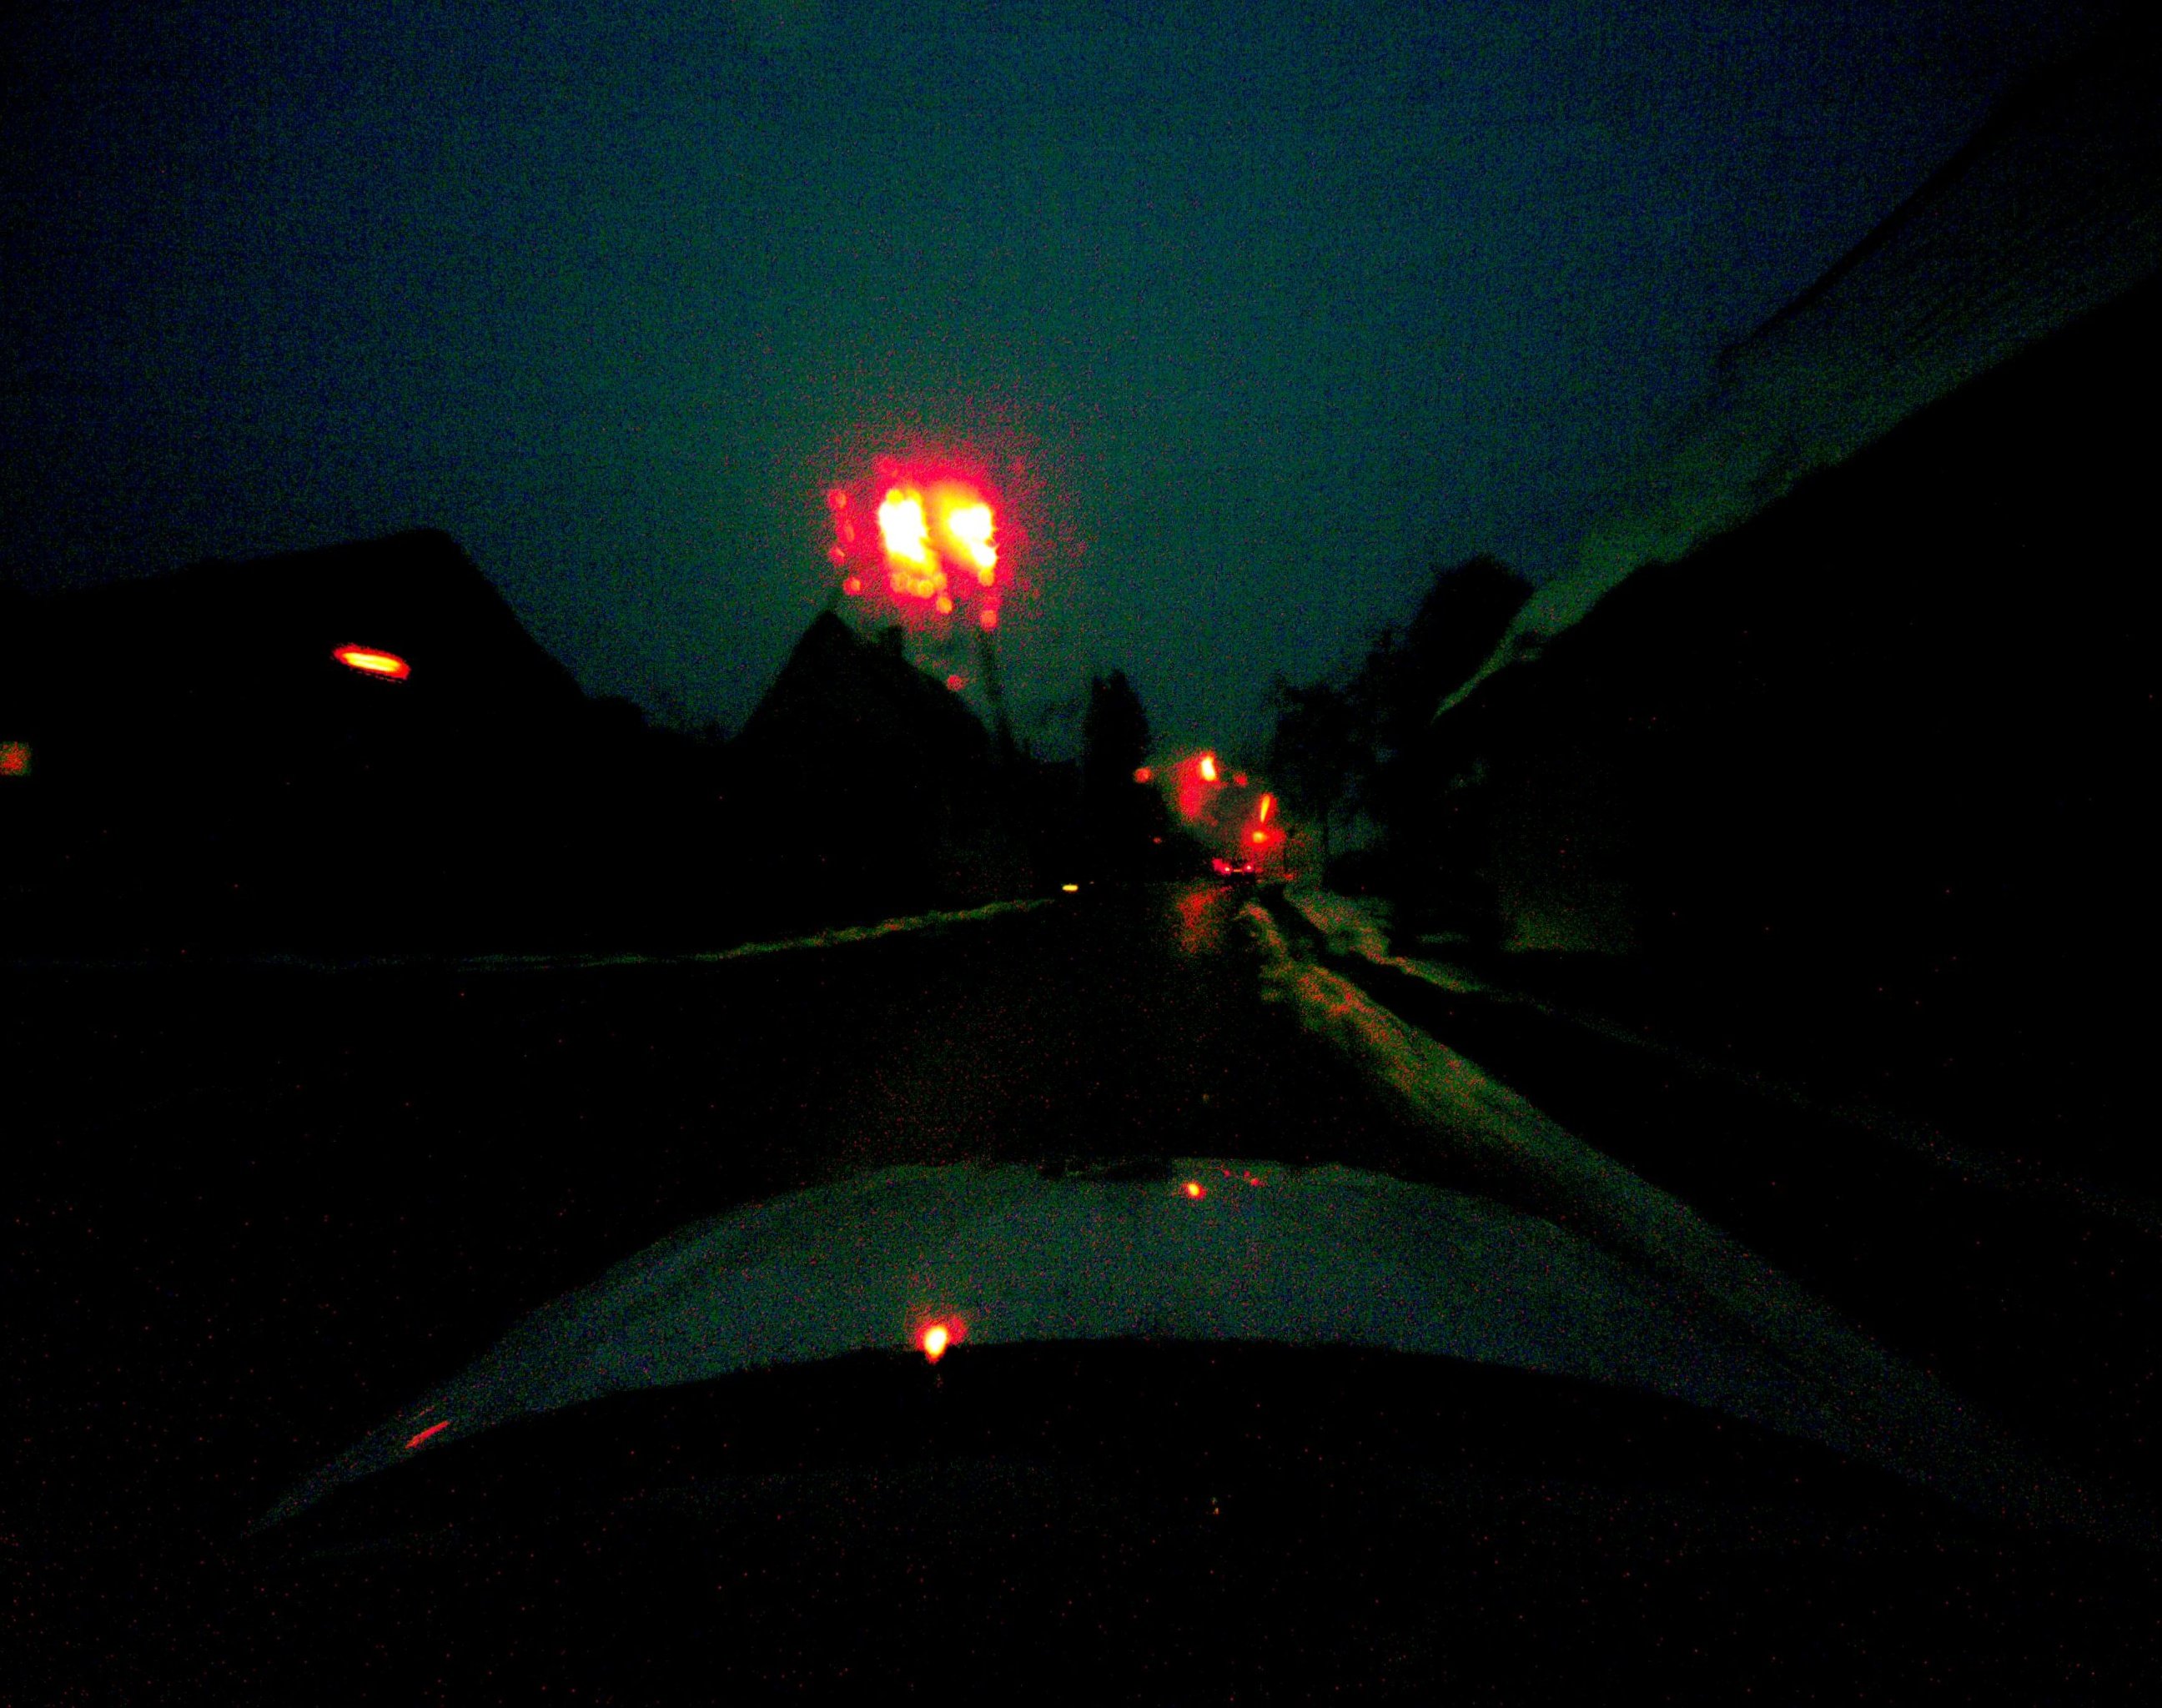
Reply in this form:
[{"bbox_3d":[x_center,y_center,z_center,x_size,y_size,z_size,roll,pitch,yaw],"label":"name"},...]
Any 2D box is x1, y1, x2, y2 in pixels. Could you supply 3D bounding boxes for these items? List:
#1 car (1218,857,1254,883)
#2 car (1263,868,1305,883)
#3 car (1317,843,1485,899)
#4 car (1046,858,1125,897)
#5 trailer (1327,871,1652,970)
[{"bbox_3d":[9.278,0.948,48.595,1.981,1.420,4.012,-2,-2,11],"label":"car"},{"bbox_3d":[26.525,2.823,106.259,4.842,1.485,2.135,-6,-5,25],"label":"car"},{"bbox_3d":[9.337,0.465,24.180,4.417,1.382,2.044,2,0,15],"label":"car"},{"bbox_3d":[0.308,0.880,32.746,1.863,1.426,5.413,-1,0,15],"label":"car"},{"bbox_3d":[5.016,0.747,10.689,1.547,0.946,3.979,-3,-1,-15],"label":"trailer"}]
